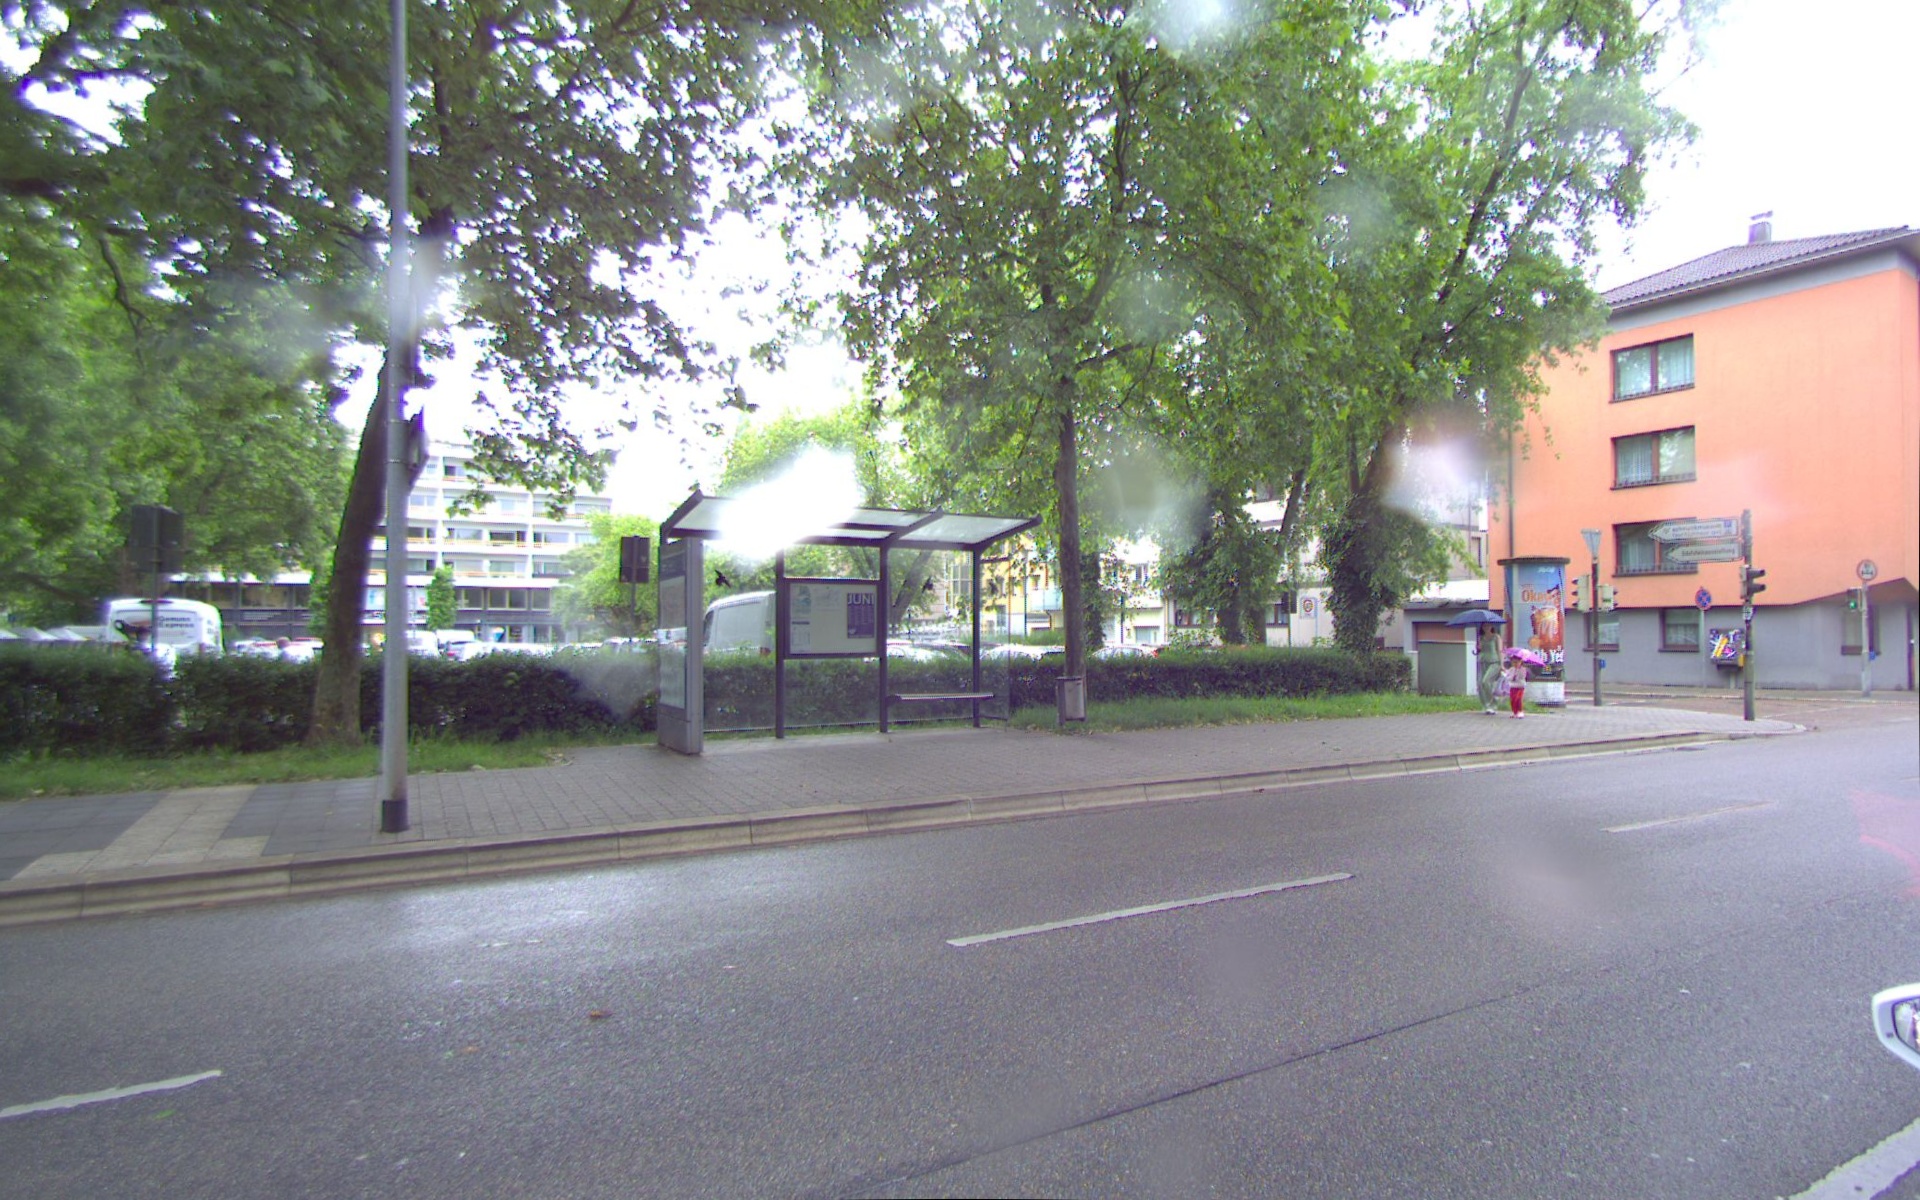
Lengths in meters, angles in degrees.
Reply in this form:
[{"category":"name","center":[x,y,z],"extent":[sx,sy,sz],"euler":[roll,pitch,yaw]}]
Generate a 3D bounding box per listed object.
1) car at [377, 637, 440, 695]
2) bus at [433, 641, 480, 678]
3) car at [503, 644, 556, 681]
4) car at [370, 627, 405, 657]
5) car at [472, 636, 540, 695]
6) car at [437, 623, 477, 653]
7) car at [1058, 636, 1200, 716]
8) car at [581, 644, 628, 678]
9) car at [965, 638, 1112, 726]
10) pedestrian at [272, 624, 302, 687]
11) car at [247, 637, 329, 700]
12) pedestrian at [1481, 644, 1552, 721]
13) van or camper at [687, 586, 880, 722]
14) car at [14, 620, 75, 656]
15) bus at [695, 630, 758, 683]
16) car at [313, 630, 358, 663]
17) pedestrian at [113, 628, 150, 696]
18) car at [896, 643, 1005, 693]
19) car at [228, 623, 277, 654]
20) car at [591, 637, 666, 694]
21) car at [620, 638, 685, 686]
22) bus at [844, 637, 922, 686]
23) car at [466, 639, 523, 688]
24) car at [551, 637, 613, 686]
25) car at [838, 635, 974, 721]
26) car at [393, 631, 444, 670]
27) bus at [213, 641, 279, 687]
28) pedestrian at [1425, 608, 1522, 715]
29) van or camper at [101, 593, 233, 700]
[{"category":"car","center":[-14.728,1.733,26.853],"extent":[1.375,1.454,3.248],"euler":[1,-3,-29]},{"category":"bus","center":[-22.366,2.607,44.573],"extent":[1.587,1.559,3.403],"euler":[2,-3,-30]},{"category":"car","center":[-17.701,2.543,41.250],"extent":[1.587,1.447,3.293],"euler":[1,-3,-30]},{"category":"car","center":[-33.037,2.395,57.918],"extent":[1.622,1.544,3.174],"euler":[1,1,-32]},{"category":"car","center":[-12.085,1.708,26.651],"extent":[1.375,1.454,3.248],"euler":[1,-3,-29]},{"category":"car","center":[-27.195,2.032,54.234],"extent":[1.622,1.544,3.174],"euler":[2,-2,-32]},{"category":"car","center":[3.810,1.682,23.043],"extent":[1.492,1.544,3.174],"euler":[2,0,-32]},{"category":"car","center":[-15.191,2.576,42.831],"extent":[1.332,1.401,3.141],"euler":[2,-3,-30]},{"category":"car","center":[1.589,1.658,21.173],"extent":[1.492,1.544,3.174],"euler":[2,0,-32]},{"category":"pedestrian","center":[-13.681,1.121,20.424],"extent":[0.462,1.229,0.434],"euler":[2,0,-37]},{"category":"car","center":[-16.506,1.656,24.792],"extent":[1.375,1.454,3.248],"euler":[1,-3,-29]},{"category":"pedestrian","center":[9.170,1.342,16.554],"extent":[0.817,1.190,0.681],"euler":[1,0,-30]},{"category":"van or camper","center":[-3.402,0.980,18.662],"extent":[2.026,2.198,4.458],"euler":[2,-3,-32]},{"category":"car","center":[-40.905,1.687,44.936],"extent":[1.412,1.447,2.941],"euler":[1,0,-30]},{"category":"bus","center":[-7.825,1.862,33.525],"extent":[1.363,1.698,2.779],"euler":[1,-3,-28]},{"category":"car","center":[-31.415,2.308,50.587],"extent":[1.818,1.444,3.799],"euler":[2,0,-31]},{"category":"pedestrian","center":[-15.255,1.136,18.504],"extent":[0.481,1.229,0.434],"euler":[2,0,-37]},{"category":"car","center":[-0.374,2.219,33.432],"extent":[1.799,1.536,3.965],"euler":[2,-3,-33]},{"category":"car","center":[-33.709,1.853,47.911],"extent":[1.587,1.447,3.293],"euler":[2,-3,-30]},{"category":"car","center":[-9.106,1.757,27.507],"extent":[1.375,1.454,3.248],"euler":[1,-3,-29]},{"category":"car","center":[-9.988,1.974,32.476],"extent":[1.375,1.454,3.248],"euler":[1,-3,-29]},{"category":"bus","center":[-2.434,1.894,31.511],"extent":[1.364,1.451,2.777],"euler":[2,-3,-30]},{"category":"car","center":[-14.537,1.949,31.283],"extent":[1.375,1.454,3.248],"euler":[1,-3,-29]},{"category":"car","center":[-11.953,1.926,31.684],"extent":[1.375,1.454,3.248],"euler":[1,-3,-29]},{"category":"car","center":[-1.206,1.573,21.189],"extent":[1.492,1.544,3.174],"euler":[2,0,-32]},{"category":"car","center":[-20.895,1.942,38.690],"extent":[1.587,1.447,3.293],"euler":[2,-3,-30]},{"category":"bus","center":[-25.543,2.268,36.019],"extent":[1.587,1.559,3.403],"euler":[2,-3,-30]},{"category":"pedestrian","center":[8.907,1.044,17.429],"extent":[1.195,1.765,0.987],"euler":[1,0,-30]},{"category":"van or camper","center":[-20.693,1.221,26.425],"extent":[2.074,2.570,4.391],"euler":[1,-3,-30]}]
